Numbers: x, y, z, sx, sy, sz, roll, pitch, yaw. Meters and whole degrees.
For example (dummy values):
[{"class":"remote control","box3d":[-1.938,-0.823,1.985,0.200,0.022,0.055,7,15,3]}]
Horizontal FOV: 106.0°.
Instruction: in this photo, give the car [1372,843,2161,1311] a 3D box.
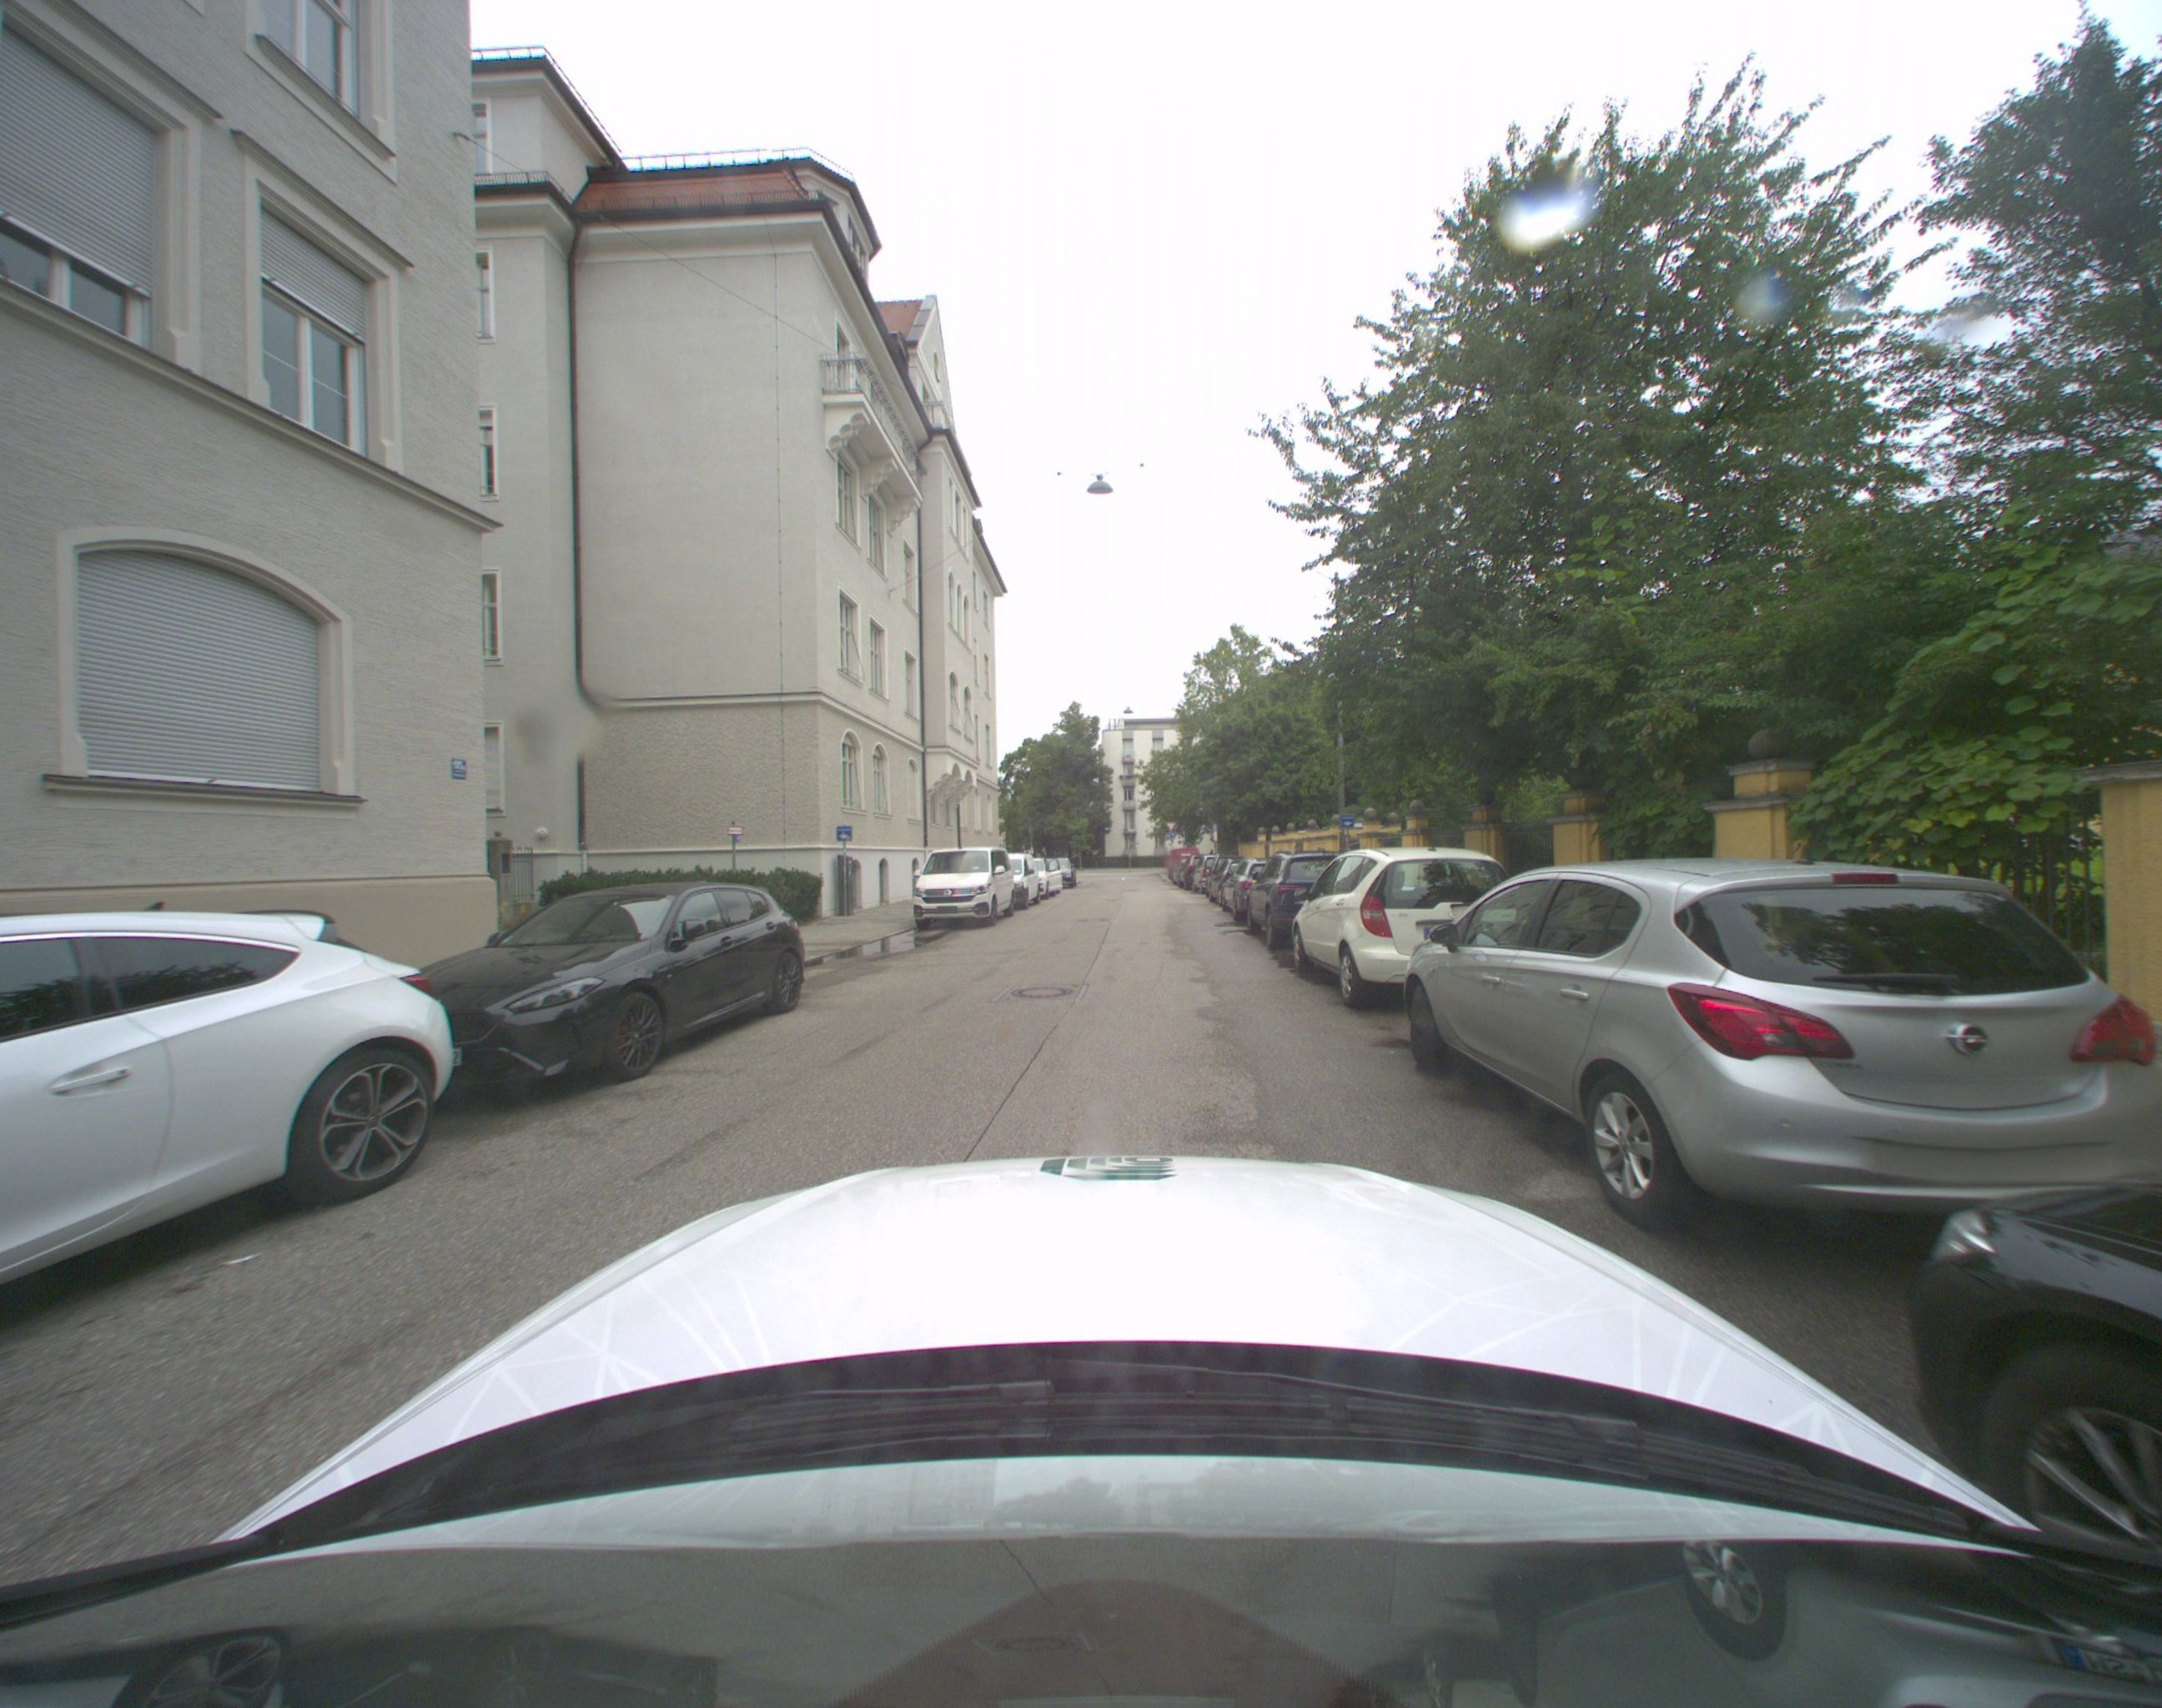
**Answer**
[{"class":"car","box3d":[3.145,0.708,4.652,1.705,1.453,4.188,-1,0,4]}]

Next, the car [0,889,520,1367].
[{"class":"car","box3d":[-4.472,0.978,2.760,1.848,1.463,4.384,-2,0,4]}]

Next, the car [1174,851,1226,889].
[{"class":"car","box3d":[5.600,0.700,38.765,1.877,1.653,4.825,1,0,2]}]

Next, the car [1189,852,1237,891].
[{"class":"car","box3d":[5.436,0.690,33.881,1.479,1.539,3.693,1,0,1]}]

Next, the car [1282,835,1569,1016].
[{"class":"car","box3d":[3.567,0.635,9.364,1.705,1.570,4.324,-1,0,4]}]

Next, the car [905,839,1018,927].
[{"class":"car","box3d":[-2.919,0.658,21.086,1.848,1.938,4.962,-2,0,3]}]

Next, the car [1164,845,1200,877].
[{"class":"car","box3d":[6.238,0.409,50.590,1.866,1.920,4.891,0,0,3]}]

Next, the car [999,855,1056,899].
[{"class":"car","box3d":[-2.085,0.881,33.042,1.740,1.602,4.499,-2,0,2]}]

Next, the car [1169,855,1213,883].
[{"class":"car","box3d":[5.999,0.796,44.856,1.878,1.448,4.369,1,0,1]}]

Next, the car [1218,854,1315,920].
[{"class":"car","box3d":[4.471,0.740,20.201,1.684,1.414,4.521,-1,0,5]}]

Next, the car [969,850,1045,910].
[{"class":"car","box3d":[-2.398,0.796,27.581,1.739,1.788,5.041,-2,0,3]}]

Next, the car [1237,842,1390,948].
[{"class":"car","box3d":[3.984,0.629,14.739,1.705,1.570,4.696,-1,0,4]}]

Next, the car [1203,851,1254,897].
[{"class":"car","box3d":[5.282,0.701,29.448,1.501,1.566,2.872,1,0,4]}]

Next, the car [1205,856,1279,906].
[{"class":"car","box3d":[4.915,0.778,25.344,1.685,1.414,4.039,1,0,3]}]

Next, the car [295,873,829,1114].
[{"class":"car","box3d":[-4.084,0.971,7.505,1.848,1.412,4.384,-2,0,4]}]

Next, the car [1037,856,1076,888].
[{"class":"car","box3d":[-1.281,0.939,44.884,1.740,1.602,4.499,-2,0,2]}]

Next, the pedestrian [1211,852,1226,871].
[{"class":"pedestrian","box3d":[9.686,0.516,57.479,1.004,1.338,0.878,-1,0,6]}]

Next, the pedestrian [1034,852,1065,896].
[{"class":"pedestrian","box3d":[-1.280,0.795,33.297,0.966,1.756,0.869,-1,0,-27]}]
